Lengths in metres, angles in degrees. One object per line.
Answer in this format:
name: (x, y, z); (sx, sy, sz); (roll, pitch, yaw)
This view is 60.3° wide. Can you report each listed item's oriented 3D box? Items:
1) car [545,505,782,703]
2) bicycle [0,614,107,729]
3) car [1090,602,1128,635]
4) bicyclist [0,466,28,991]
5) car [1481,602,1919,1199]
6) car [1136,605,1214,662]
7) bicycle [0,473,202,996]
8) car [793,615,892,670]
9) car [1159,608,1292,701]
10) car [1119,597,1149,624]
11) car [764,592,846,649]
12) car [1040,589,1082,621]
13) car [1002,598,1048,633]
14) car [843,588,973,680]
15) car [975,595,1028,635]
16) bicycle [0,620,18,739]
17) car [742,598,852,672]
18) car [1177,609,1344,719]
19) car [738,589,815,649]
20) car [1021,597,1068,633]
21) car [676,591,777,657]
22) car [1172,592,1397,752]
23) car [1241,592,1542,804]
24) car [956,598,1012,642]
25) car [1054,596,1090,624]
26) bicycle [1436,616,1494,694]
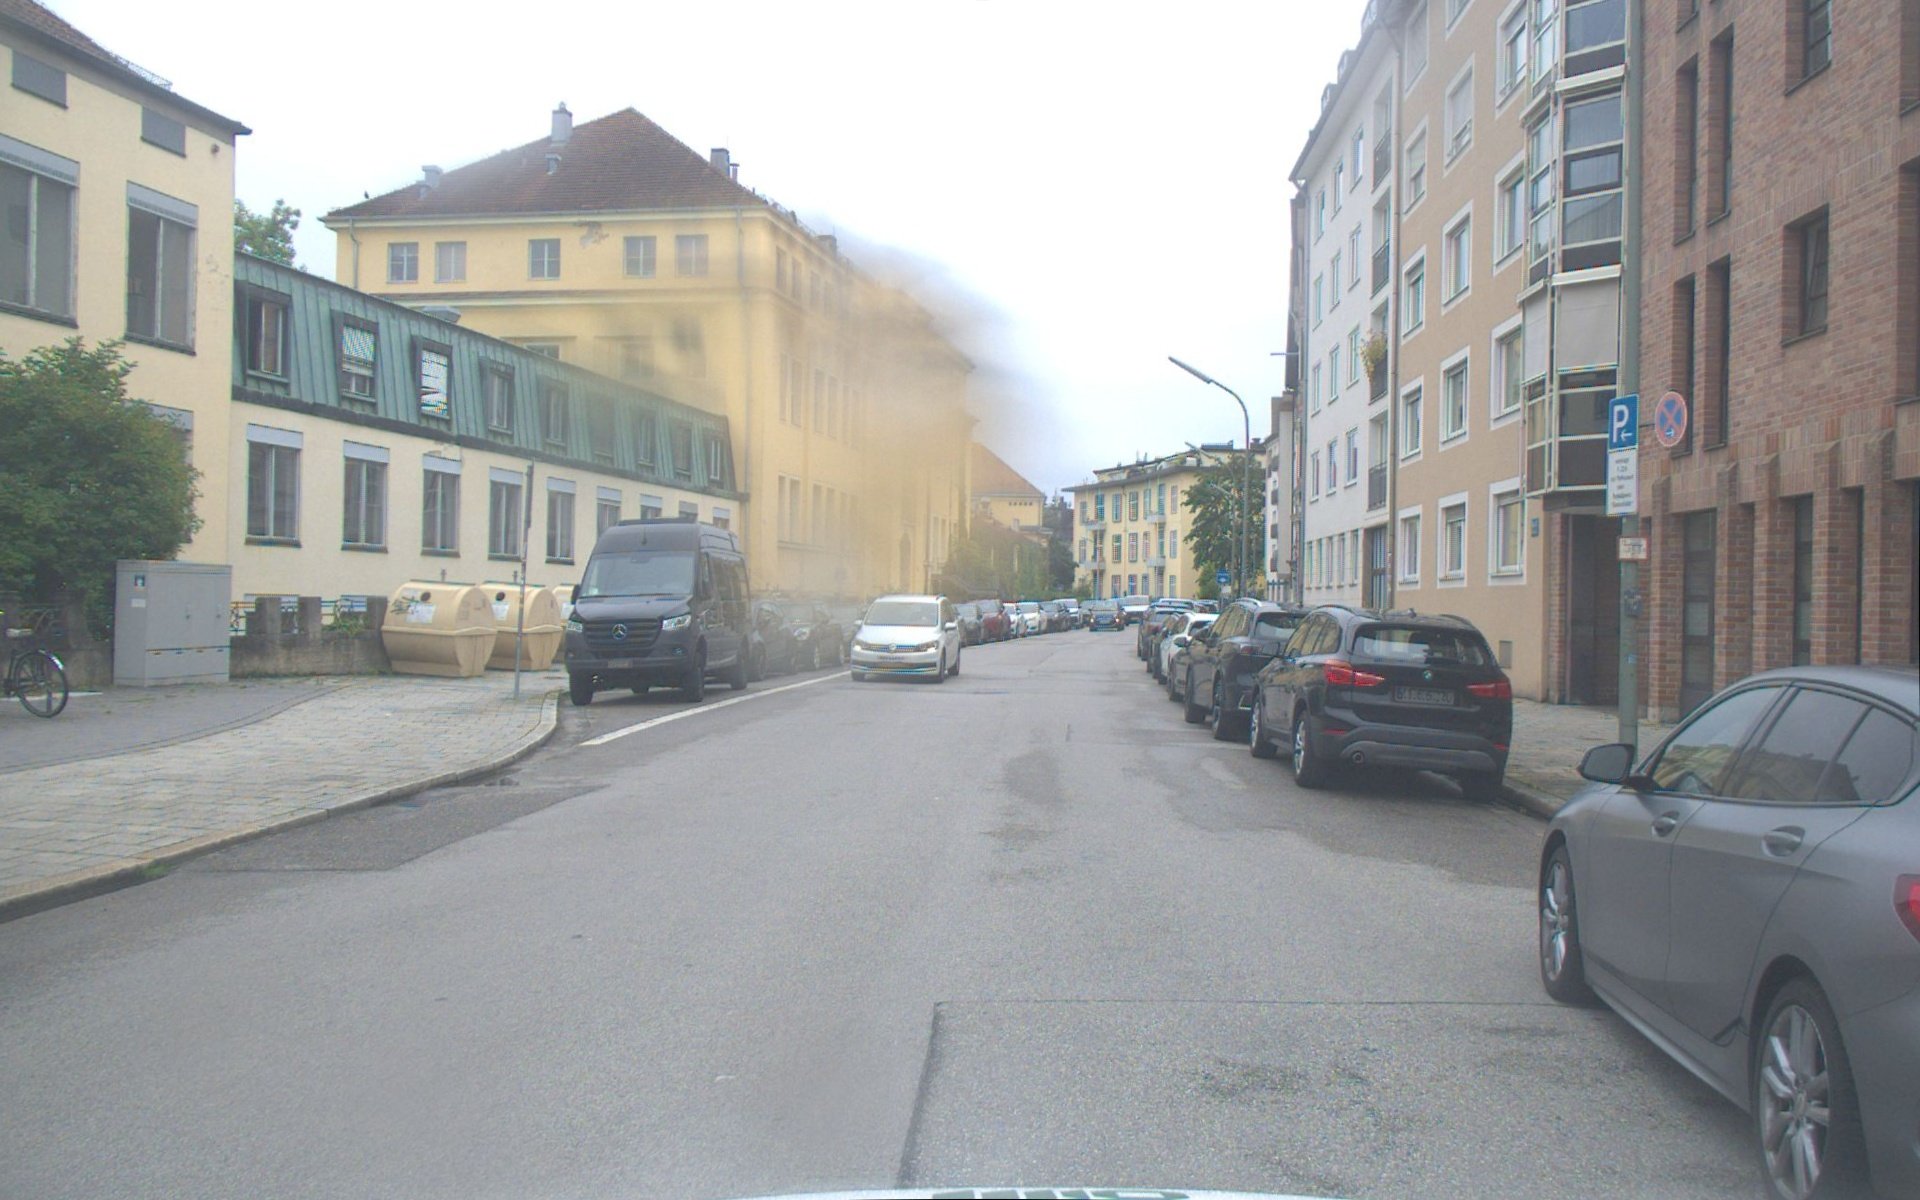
car: (-4.472, 0.103, 26.119); (2.371, 2.763, 5.955); (0, -1, 3)
bicycle: (-10.186, 0.737, 17.716); (1.864, 1.111, 0.678); (3, 1, 15)
car: (7.493, 0.905, 83.064); (1.661, 1.469, 3.511); (3, 1, 8)
bicyclist: (-4.179, 0.515, 6.253); (0.750, 2.049, 0.768); (-3, 0, 10)
car: (3.165, 0.822, 5.262); (1.884, 1.538, 4.394); (3, 0, 5)
car: (5.949, 0.894, 46.197); (1.847, 1.434, 4.433); (2, 0, 4)
bicycle: (-4.166, 0.533, 6.363); (0.732, 2.049, 2.850); (-1, 0, 10)
car: (-2.962, 1.053, 42.309); (1.496, 1.223, 3.744); (3, 1, 12)
car: (4.828, 0.947, 30.680); (1.848, 1.501, 4.745); (2, 0, 3)
car: (10.725, 0.625, 101.678); (1.661, 1.469, 3.511); (3, 1, 8)
car: (-5.065, 0.640, 54.589); (1.683, 1.689, 3.751); (3, 1, 10)
car: (5.515, 0.269, 90.248); (1.951, 1.575, 4.003); (3, 1, 7)
car: (2.983, 0.687, 75.201); (1.661, 1.469, 3.511); (3, 1, 9)
car: (-0.950, 0.693, 32.774); (1.983, 1.650, 4.507); (-1, -2, 6)
car: (1.721, 0.601, 67.722); (1.661, 1.469, 3.511); (3, 1, 9)
bicycle: (-10.272, 0.734, 16.218); (1.915, 1.151, 0.573); (3, 1, 15)
car: (-3.633, 0.751, 37.389); (1.663, 1.478, 3.744); (3, 1, 7)
car: (4.455, 0.902, 25.109); (1.848, 1.345, 4.276); (2, 1, 2)
car: (-5.644, 0.561, 51.133); (1.571, 1.689, 2.811); (3, 1, 10)
car: (4.139, 0.719, 80.591); (1.951, 1.575, 4.003); (3, 1, 7)
car: (-6.570, 0.641, 46.937); (1.683, 1.689, 3.751); (3, 1, 10)
car: (3.895, 0.787, 20.676); (1.924, 1.629, 4.672); (2, 1, 1)
car: (3.956, 0.804, 15.909); (1.792, 1.629, 4.267); (2, 1, 1)
car: (0.934, 0.729, 62.294); (1.661, 1.469, 3.511); (3, 1, 8)
car: (7.058, 0.592, 103.832); (1.951, 1.575, 4.003); (3, 1, 7)
bicycle: (9.418, 1.001, 30.930); (0.458, 1.310, 2.676); (2, 1, 6)
